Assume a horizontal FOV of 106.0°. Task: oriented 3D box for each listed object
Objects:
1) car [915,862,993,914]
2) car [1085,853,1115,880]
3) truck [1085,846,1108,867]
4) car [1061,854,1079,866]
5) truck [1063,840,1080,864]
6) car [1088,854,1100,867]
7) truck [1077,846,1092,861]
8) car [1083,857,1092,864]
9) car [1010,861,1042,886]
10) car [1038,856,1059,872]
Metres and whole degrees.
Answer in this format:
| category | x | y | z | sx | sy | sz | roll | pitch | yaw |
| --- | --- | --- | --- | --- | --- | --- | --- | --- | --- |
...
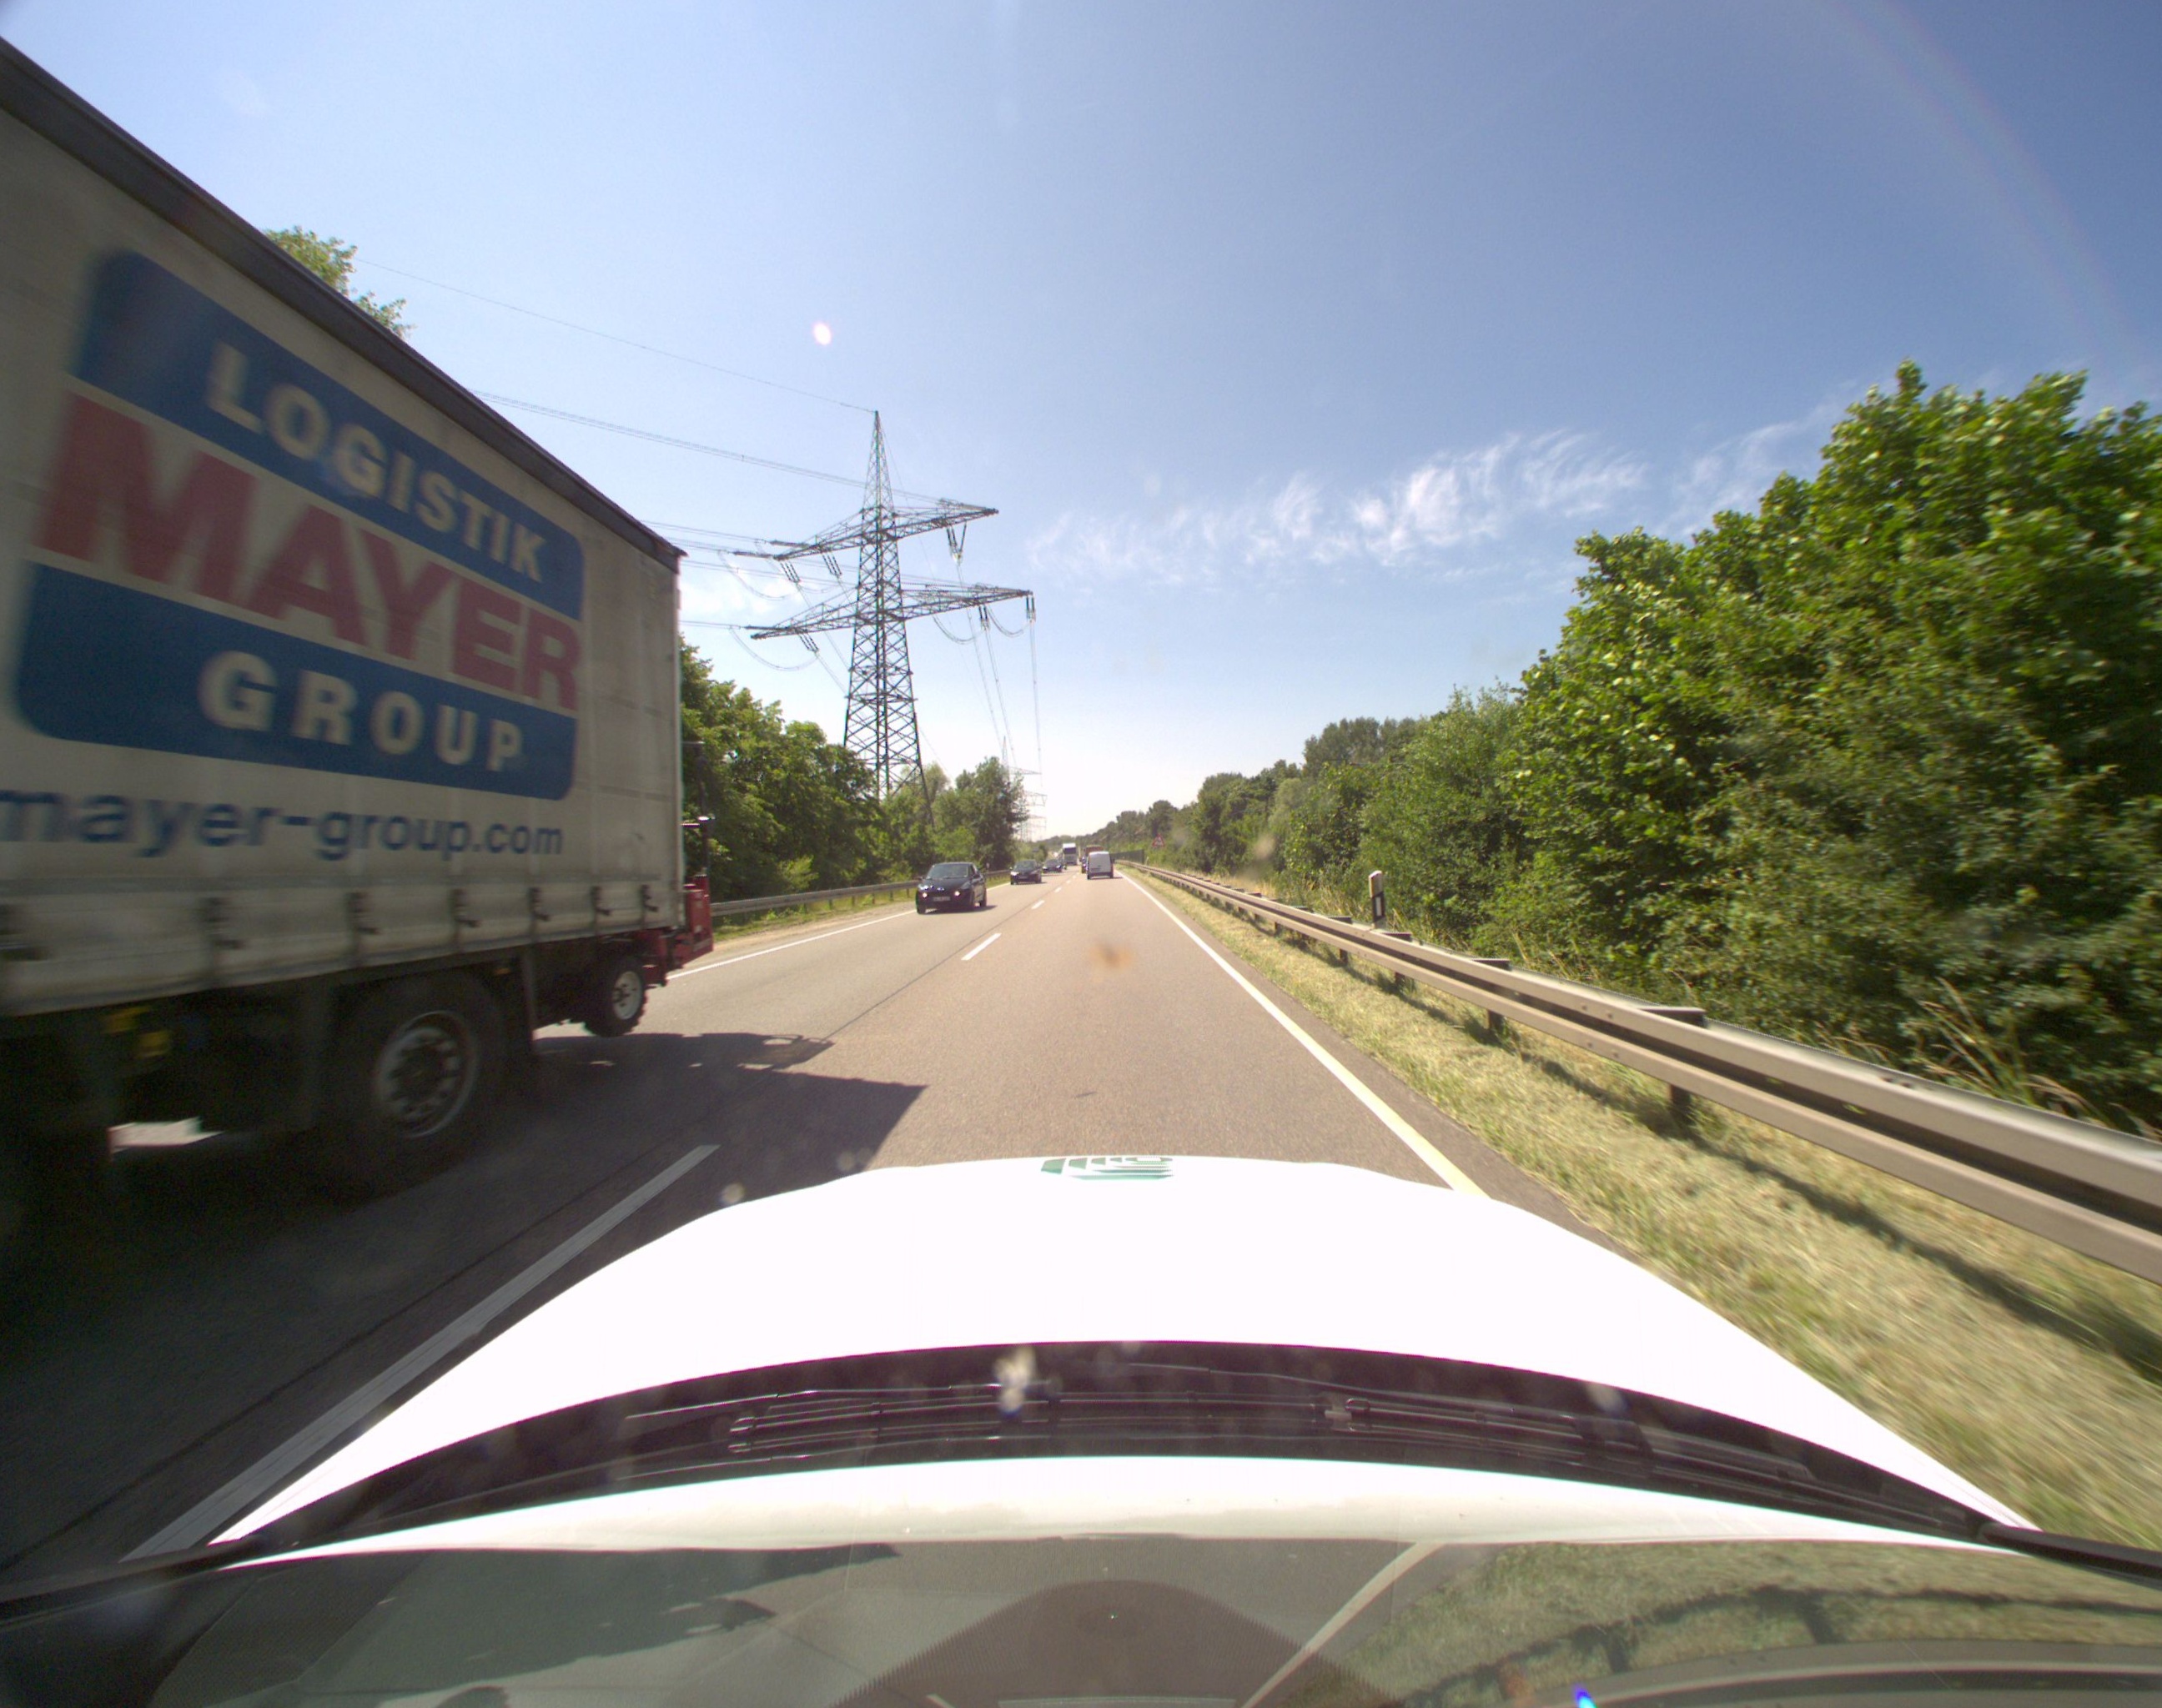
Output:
| category | x | y | z | sx | sy | sz | roll | pitch | yaw |
| --- | --- | --- | --- | --- | --- | --- | --- | --- | --- |
| car | -3.891 | 1.006 | 25.538 | 1.627 | 1.437 | 4.182 | -1 | 0 | 2 |
| car | 1.279 | 0.788 | 54.409 | 1.868 | 1.741 | 4.001 | 0 | 0 | 1 |
| truck | 2.380 | 0.286 | 131.731 | 3.286 | 3.171 | 14.401 | 1 | 1 | 0 |
| car | -1.398 | 0.762 | 102.304 | 1.986 | 1.454 | 4.001 | -3 | 0 | 1 |
| truck | -1.658 | -0.272 | 148.157 | 2.734 | 4.042 | 9.664 | -3 | 0 | 0 |
| car | 1.893 | 0.949 | 120.053 | 1.758 | 2.014 | 3.999 | 0 | 0 | 0 |
| truck | 0.932 | -0.207 | 211.720 | 3.393 | 3.854 | 16.808 | 1 | 1 | -1 |
| car | 1.379 | 1.408 | 179.379 | 1.987 | 1.526 | 3.999 | -2 | 0 | 0 |
| car | -3.367 | 1.166 | 50.282 | 1.628 | 1.437 | 4.414 | -2 | -1 | 0 |
| car | -3.271 | 0.998 | 83.391 | 1.838 | 1.497 | 4.001 | -2 | 0 | 2 |
